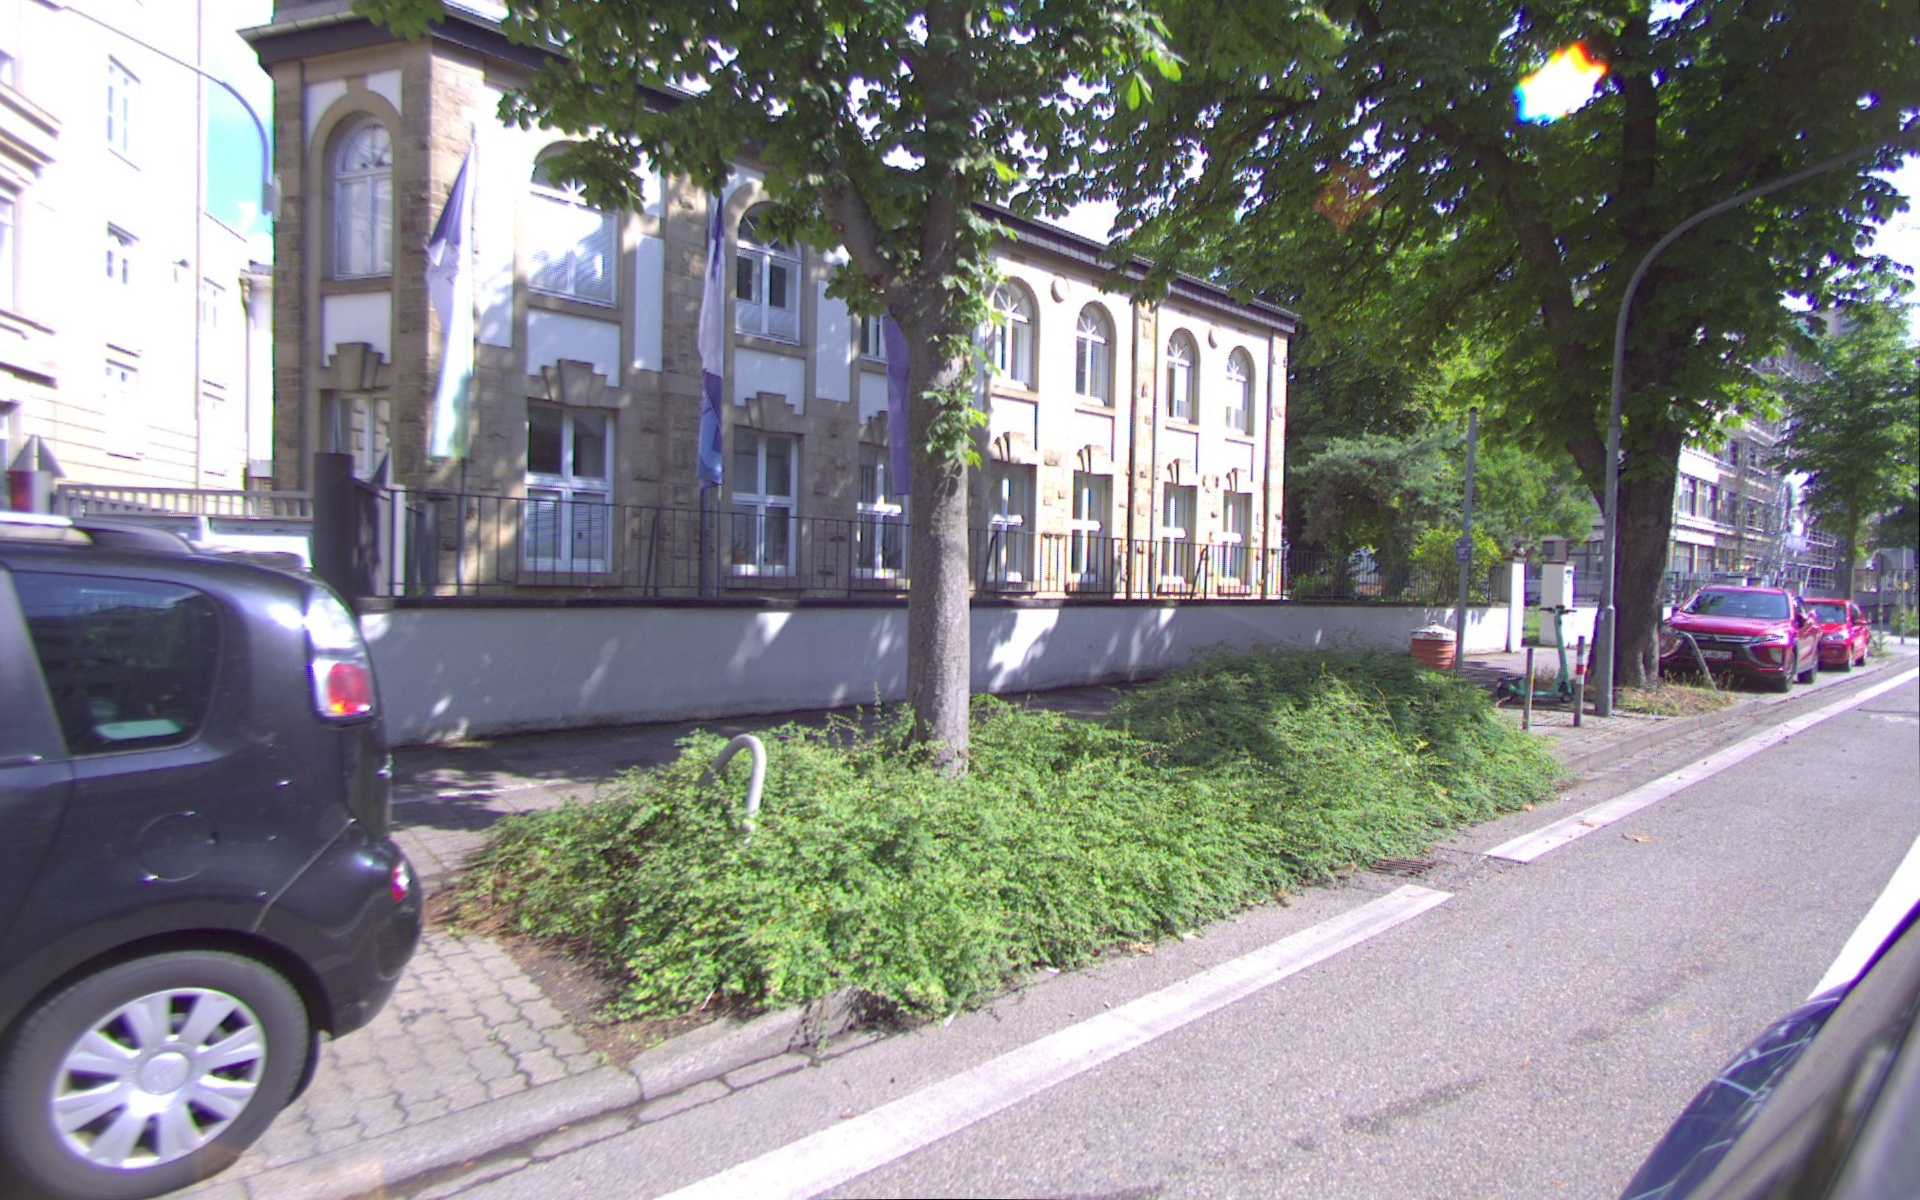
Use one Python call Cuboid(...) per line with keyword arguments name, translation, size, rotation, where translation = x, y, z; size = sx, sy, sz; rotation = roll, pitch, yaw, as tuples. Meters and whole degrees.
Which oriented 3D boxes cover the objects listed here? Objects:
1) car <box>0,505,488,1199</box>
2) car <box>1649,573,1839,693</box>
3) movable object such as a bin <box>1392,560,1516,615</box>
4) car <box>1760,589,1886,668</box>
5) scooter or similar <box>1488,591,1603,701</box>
Cuboid(name="car", translation=(-3.442, 0.558, 2.122), size=(4.132, 1.610, 1.699), rotation=(-1, 4, -43))
Cuboid(name="car", translation=(13.367, 0.461, 17.155), size=(4.211, 1.696, 1.878), rotation=(0, 3, -44))
Cuboid(name="movable object such as a bin", translation=(25.831, -0.675, 53.111), size=(5.335, 2.474, 1.999), rotation=(4, 1, 3))
Cuboid(name="car", translation=(18.769, 0.558, 21.969), size=(3.536, 1.445, 1.603), rotation=(-1, 5, -43))
Cuboid(name="scooter or similar", translation=(6.943, 0.550, 12.006), size=(1.233, 1.252, 0.343), rotation=(2, 3, -17))
